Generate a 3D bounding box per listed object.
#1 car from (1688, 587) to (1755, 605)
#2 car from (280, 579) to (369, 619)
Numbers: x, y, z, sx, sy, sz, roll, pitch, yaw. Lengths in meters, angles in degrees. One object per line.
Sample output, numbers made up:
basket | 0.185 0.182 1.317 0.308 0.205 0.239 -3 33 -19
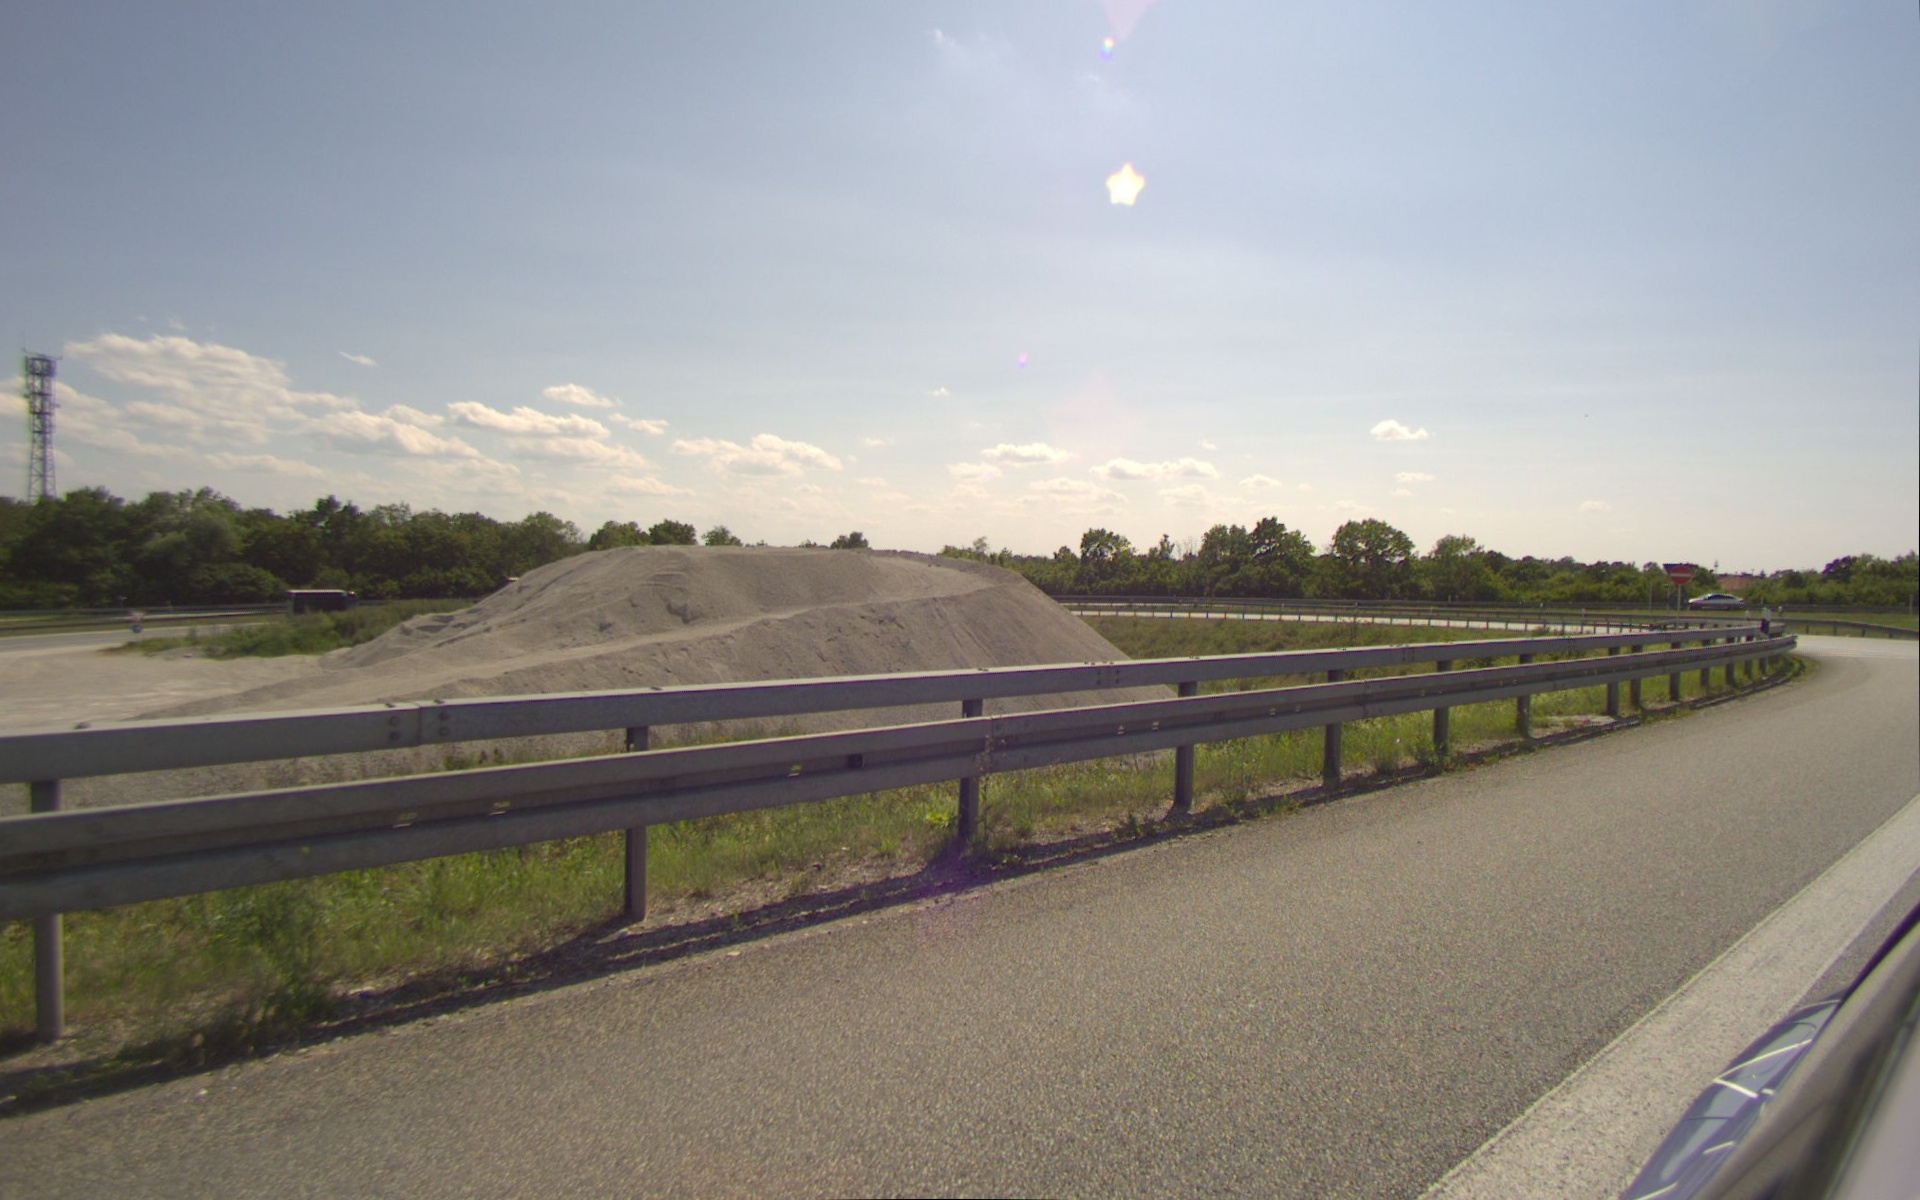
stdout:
car | 66.771 -0.377 88.835 4.244 1.527 1.988 0 0 19
car | -61.885 -0.170 98.674 1.993 3.676 6.967 -3 -1 44
